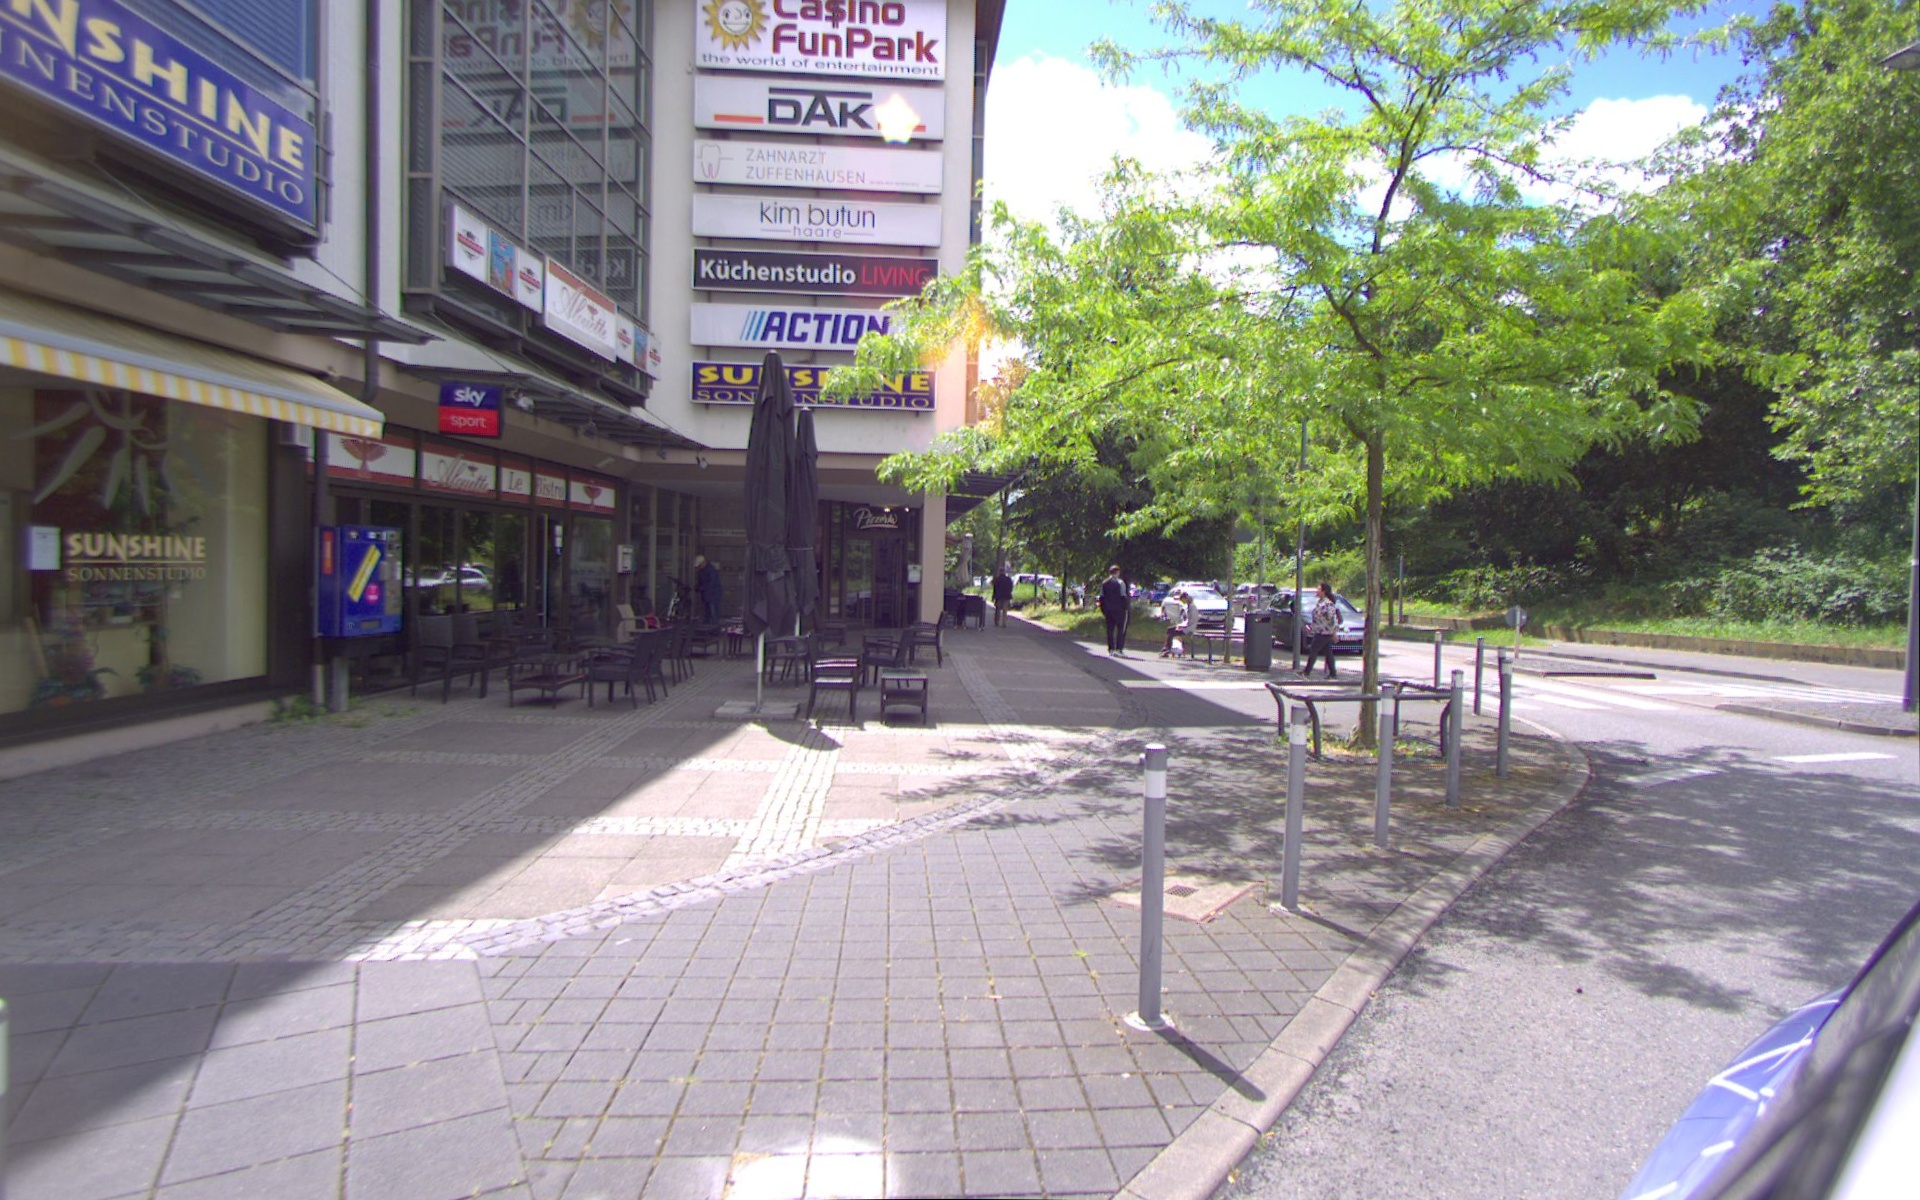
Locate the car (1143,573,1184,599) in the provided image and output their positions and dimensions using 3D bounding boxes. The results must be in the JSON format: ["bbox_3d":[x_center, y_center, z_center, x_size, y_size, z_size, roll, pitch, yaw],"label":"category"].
[{"bbox_3d":[12.997,-0.915,64.715,1.899,1.504,3.999,2,1,2],"label":"car"}]

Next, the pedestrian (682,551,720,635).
[{"bbox_3d":[-5.332,-0.148,20.845,0.605,1.695,0.699,2,1,-5],"label":"pedestrian"}]

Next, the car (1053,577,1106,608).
[{"bbox_3d":[6.247,-0.426,53.394,1.961,1.527,4.589,2,1,-3],"label":"car"}]

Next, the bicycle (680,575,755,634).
[{"bbox_3d":[-4.999,0.087,20.959,0.493,1.183,1.521,1,0,39],"label":"bicycle"}]

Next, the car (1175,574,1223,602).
[{"bbox_3d":[13.631,-0.708,57.938,1.899,1.504,3.999,2,1,2],"label":"car"}]

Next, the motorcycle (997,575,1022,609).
[{"bbox_3d":[2.025,-0.360,41.650,0.841,1.307,2.188,1,2,-2],"label":"motorcycle"}]

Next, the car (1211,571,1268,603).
[{"bbox_3d":[14.452,-0.711,52.553,1.899,1.504,3.999,2,2,2],"label":"car"}]

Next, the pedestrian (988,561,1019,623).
[{"bbox_3d":[1.207,-0.225,28.173,0.604,1.695,0.699,2,1,-18],"label":"pedestrian"}]

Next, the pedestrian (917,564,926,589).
[{"bbox_3d":[-2.639,-1.593,69.354,0.570,1.695,0.663,2,1,-7],"label":"pedestrian"}]

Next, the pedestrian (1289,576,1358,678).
[{"bbox_3d":[5.850,0.420,16.295,0.777,1.573,0.754,2,1,42],"label":"pedestrian"}]

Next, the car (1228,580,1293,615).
[{"bbox_3d":[13.871,-0.158,46.912,1.899,1.504,3.999,2,1,2],"label":"car"}]

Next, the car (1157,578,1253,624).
[{"bbox_3d":[8.697,-0.013,36.425,1.960,1.527,4.590,0,1,-5],"label":"car"}]

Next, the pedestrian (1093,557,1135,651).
[{"bbox_3d":[3.077,0.071,20.269,0.685,1.841,0.617,2,1,0],"label":"pedestrian"}]

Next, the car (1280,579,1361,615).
[{"bbox_3d":[14.723,-0.156,41.568,1.723,1.346,4.003,-2,2,-3],"label":"car"}]

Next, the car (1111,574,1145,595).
[{"bbox_3d":[12.403,-1.162,74.998,1.899,1.504,3.999,2,1,2],"label":"car"}]

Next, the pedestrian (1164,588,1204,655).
[{"bbox_3d":[4.466,0.416,20.247,0.686,1.301,0.616,2,1,8],"label":"pedestrian"}]

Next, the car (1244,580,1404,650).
[{"bbox_3d":[8.784,0.295,24.925,1.960,1.527,4.590,0,1,-5],"label":"car"}]

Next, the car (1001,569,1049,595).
[{"bbox_3d":[4.103,-1.177,64.899,1.958,1.527,4.594,2,1,-11],"label":"car"}]
